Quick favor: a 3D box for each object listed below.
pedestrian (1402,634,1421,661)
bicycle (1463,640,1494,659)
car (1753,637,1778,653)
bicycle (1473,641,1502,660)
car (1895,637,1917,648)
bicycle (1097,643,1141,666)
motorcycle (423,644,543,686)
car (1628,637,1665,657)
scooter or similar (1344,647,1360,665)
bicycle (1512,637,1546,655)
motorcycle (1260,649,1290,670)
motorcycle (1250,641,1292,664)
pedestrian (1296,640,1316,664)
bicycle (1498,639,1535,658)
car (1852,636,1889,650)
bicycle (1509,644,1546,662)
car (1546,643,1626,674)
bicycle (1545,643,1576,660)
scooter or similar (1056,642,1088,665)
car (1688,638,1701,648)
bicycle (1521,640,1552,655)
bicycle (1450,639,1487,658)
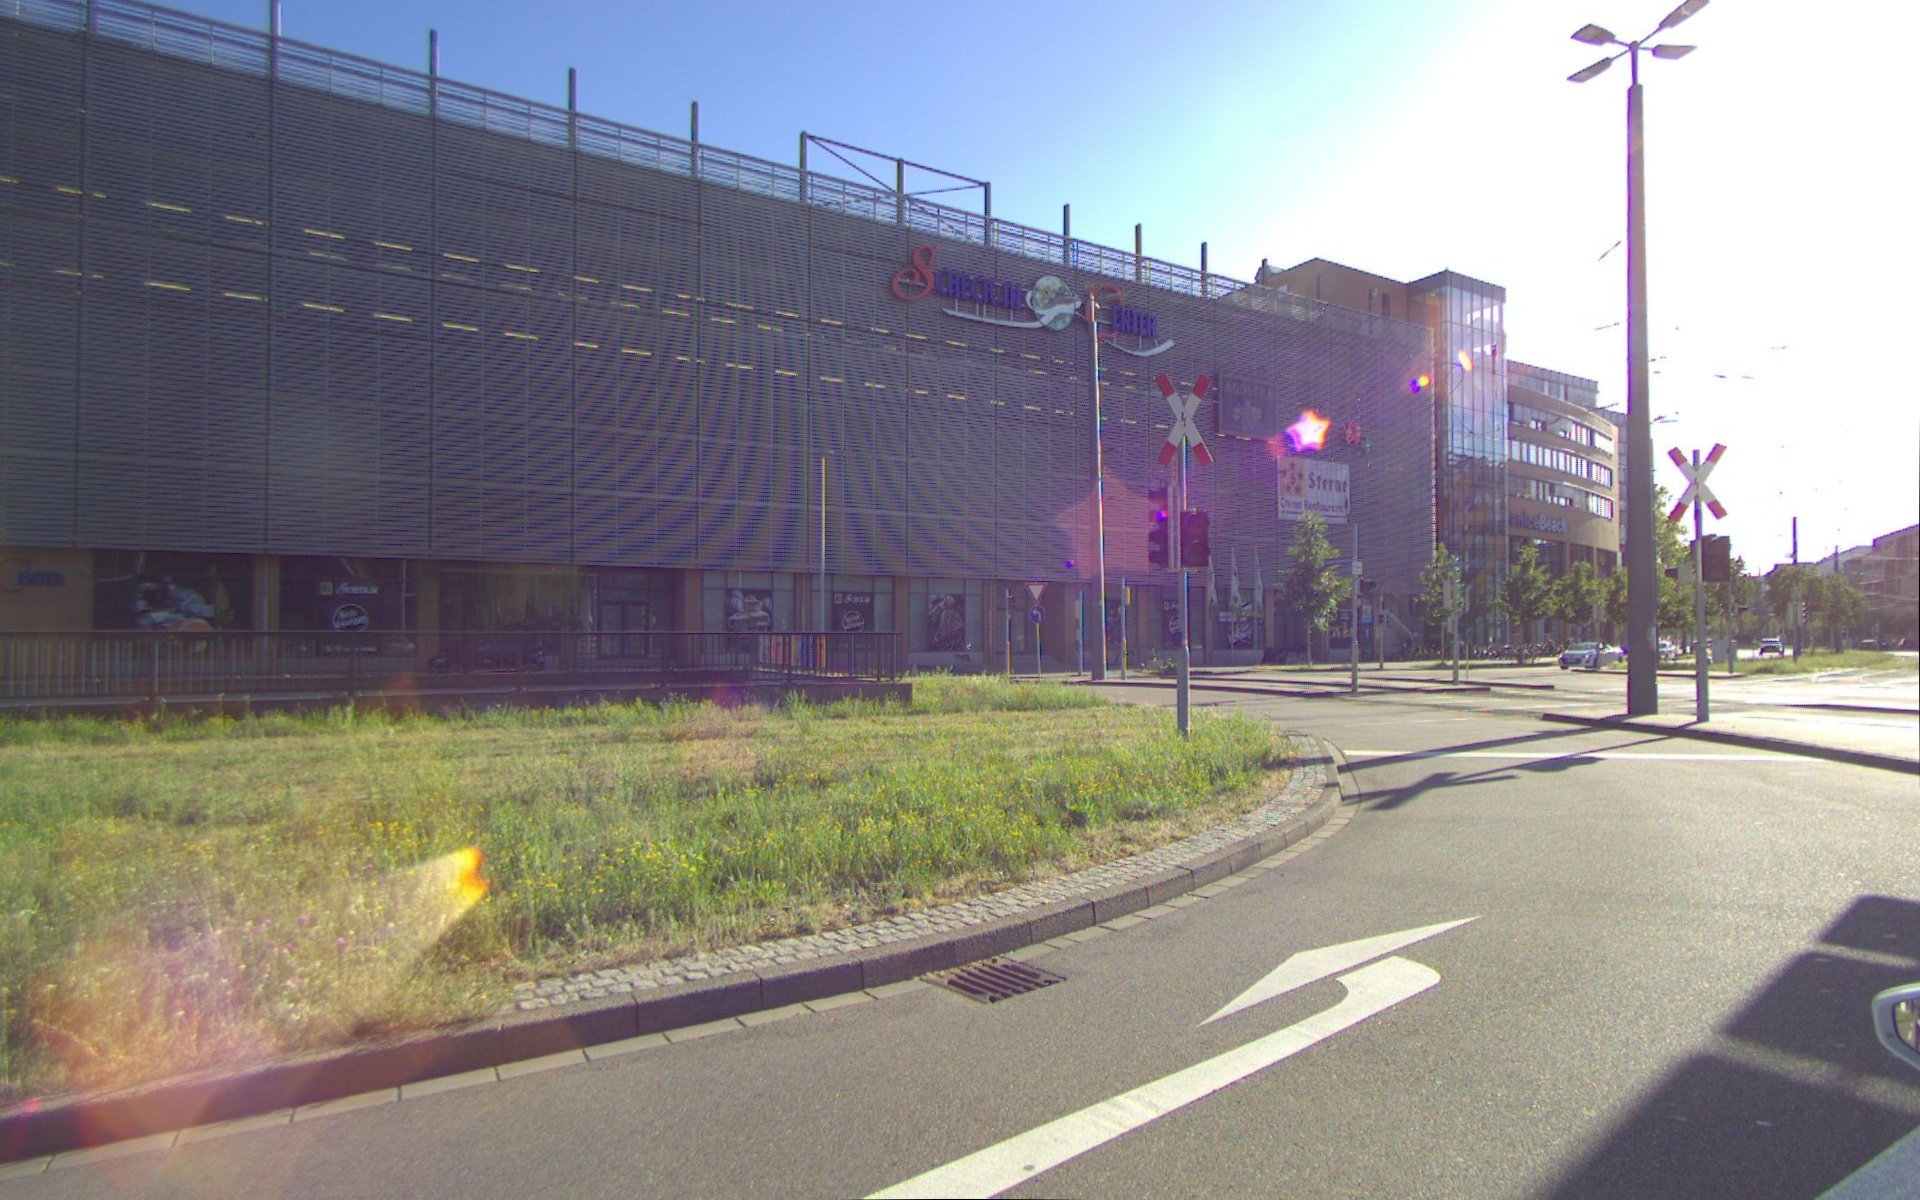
[{"bbox_3d":[31.308,3.269,69.705,0.894,1.848,0.823,2,-4,-29],"label":"pedestrian"},{"bbox_3d":[39.304,3.752,76.150,0.848,1.452,2.080,1,-3,-21],"label":"bicycle"},{"bbox_3d":[84.321,4.717,105.165,1.970,1.661,4.392,-1,-3,39],"label":"car"},{"bbox_3d":[40.239,3.877,76.657,0.795,1.452,1.975,1,-3,-21],"label":"bicycle"},{"bbox_3d":[139.343,6.242,147.953,1.970,1.661,4.393,-1,-3,39],"label":"car"},{"bbox_3d":[8.636,2.965,54.494,2.384,1.236,0.797,1,-2,-27],"label":"bicycle"},{"bbox_3d":[-17.990,2.401,37.870,3.953,1.472,1.984,1,-2,-30],"label":"motorcycle"},{"bbox_3d":[51.722,3.536,75.635,1.872,1.425,3.981,-3,-3,40],"label":"car"},{"bbox_3d":[26.093,3.727,66.850,1.138,1.124,0.419,3,-4,-30],"label":"scooter or similar"},{"bbox_3d":[48.927,3.973,86.411,0.760,1.452,2.604,1,-3,-21],"label":"bicycle"},{"bbox_3d":[19.160,3.622,61.124,1.872,1.254,0.672,2,-3,-31],"label":"motorcycle"},{"bbox_3d":[19.557,3.294,63.133,2.582,1.465,0.963,1,-2,-27],"label":"motorcycle"},{"bbox_3d":[22.889,3.433,66.422,0.819,1.586,0.983,2,-4,-30],"label":"pedestrian"},{"bbox_3d":[43.467,3.810,78.551,0.891,1.452,2.558,1,-3,-21],"label":"bicycle"},{"bbox_3d":[123.733,5.850,136.462,3.936,1.728,1.993,1,-3,-18],"label":"car"},{"bbox_3d":[45.179,4.217,80.028,0.891,1.452,2.558,1,-3,-21],"label":"bicycle"},{"bbox_3d":[33.547,3.107,53.836,4.482,1.566,1.982,1,-2,-34],"label":"car"},{"bbox_3d":[53.448,4.594,89.415,0.777,1.452,2.417,1,-3,-21],"label":"bicycle"},{"bbox_3d":[6.159,2.957,55.159,1.555,1.222,0.790,3,-4,-30],"label":"scooter or similar"},{"bbox_3d":[127.487,7.468,174.353,1.626,1.609,3.350,-1,-2,33],"label":"car"},{"bbox_3d":[50.061,4.120,87.269,0.734,1.252,2.411,1,-3,-21],"label":"bicycle"},{"bbox_3d":[38.356,3.661,75.791,1.060,1.452,2.367,1,-3,-21],"label":"bicycle"}]
